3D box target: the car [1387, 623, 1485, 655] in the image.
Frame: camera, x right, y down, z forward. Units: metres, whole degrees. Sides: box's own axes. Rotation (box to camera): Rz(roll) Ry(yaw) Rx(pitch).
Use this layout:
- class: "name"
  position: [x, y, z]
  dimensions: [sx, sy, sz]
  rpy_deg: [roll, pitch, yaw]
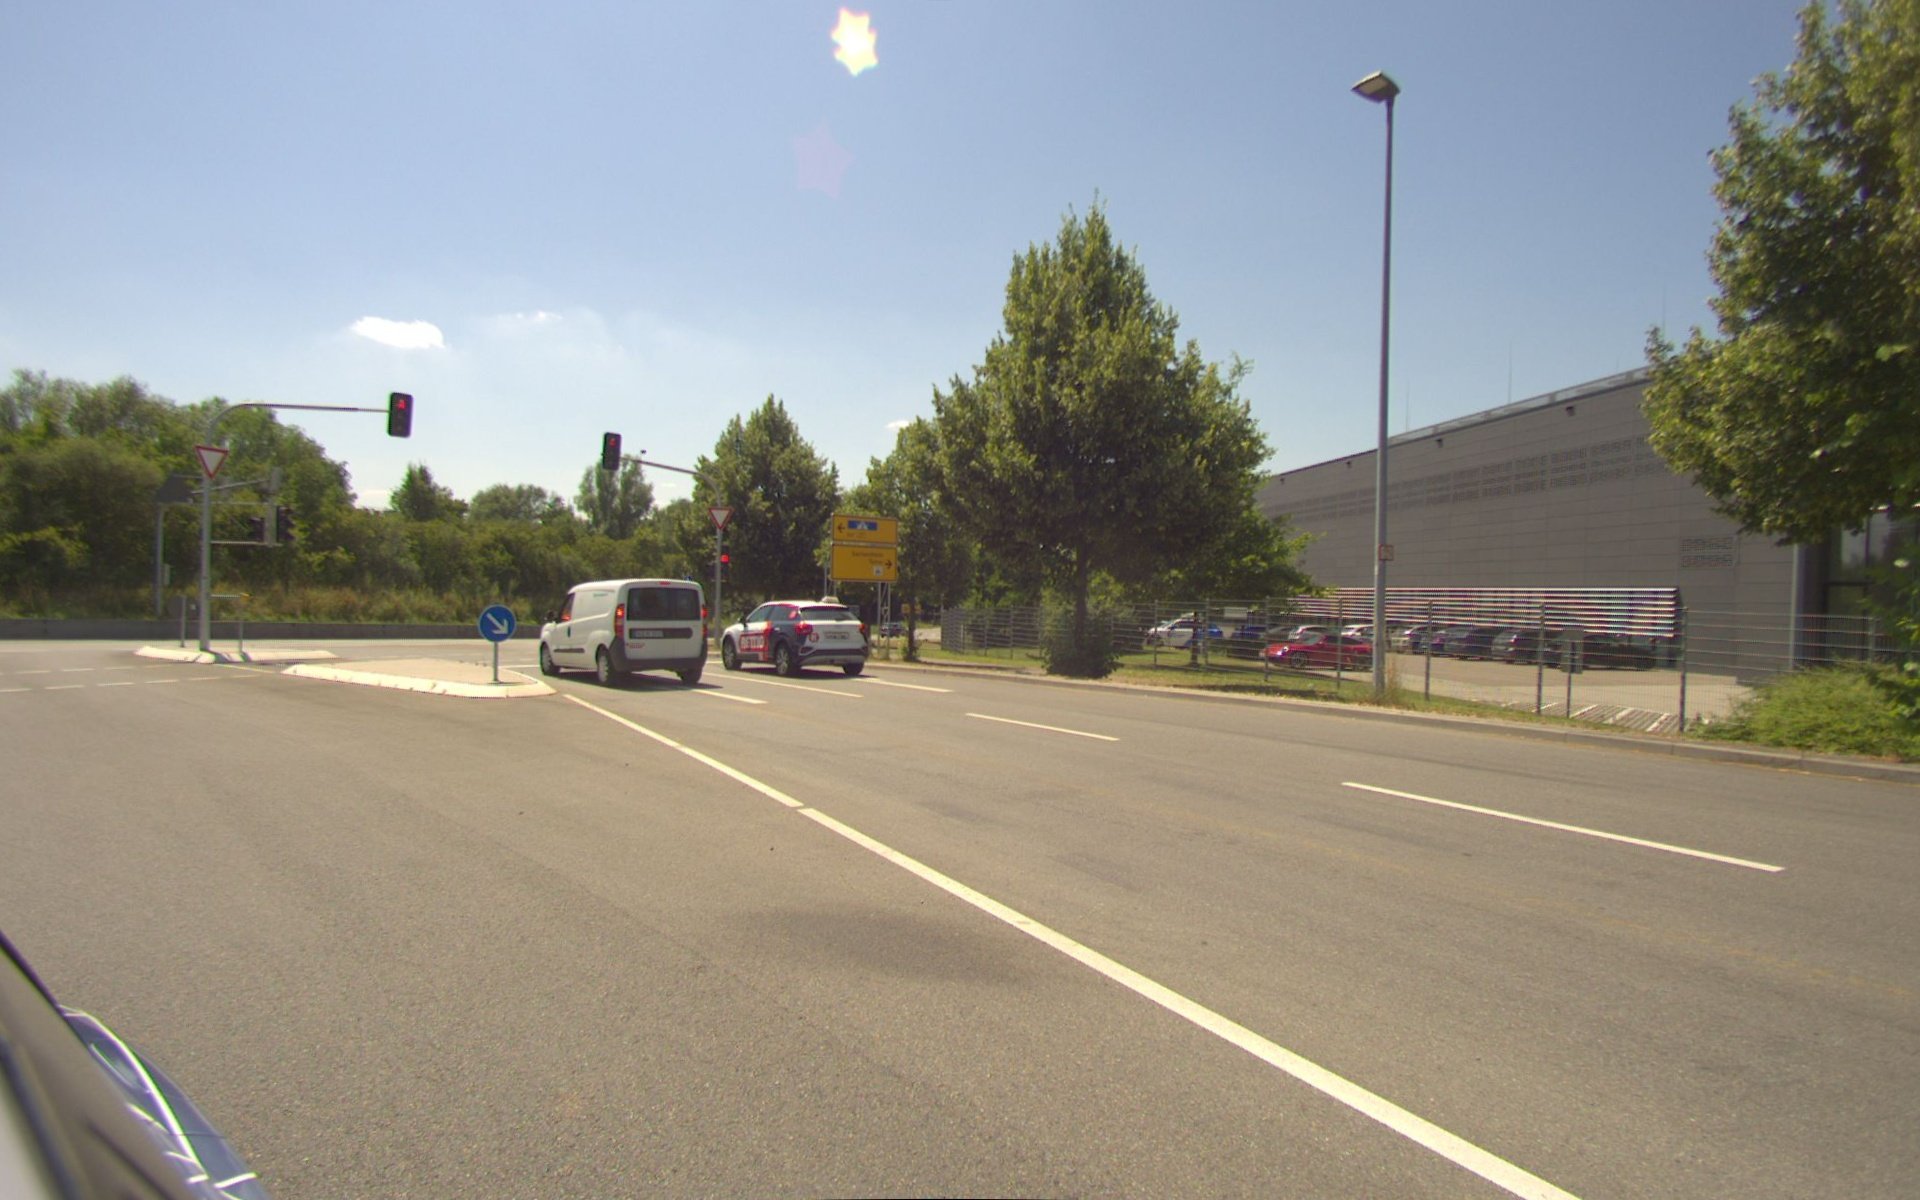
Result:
- class: "car"
  position: [23.612, 1.938, 50.244]
  dimensions: [3.935, 1.528, 1.924]
  rpy_deg: [0, -3, -10]

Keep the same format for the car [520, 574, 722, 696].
- class: "car"
  position: [-6.500, 0.520, 19.048]
  dimensions: [1.968, 1.957, 4.880]
  rpy_deg: [-3, 3, -39]

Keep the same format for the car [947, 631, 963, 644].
- class: "car"
  position: [-0.766, 5.643, 150.616]
  dimensions: [1.975, 1.796, 3.993]
  rpy_deg: [1, -3, 5]

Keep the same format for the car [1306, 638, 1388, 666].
- class: "car"
  position: [22.366, 3.013, 58.521]
  dimensions: [3.935, 1.497, 2.004]
  rpy_deg: [2, -3, -10]

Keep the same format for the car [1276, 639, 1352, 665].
- class: "car"
  position: [21.958, 3.236, 62.820]
  dimensions: [3.935, 1.497, 2.004]
  rpy_deg: [2, -3, -10]

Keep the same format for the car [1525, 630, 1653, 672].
- class: "car"
  position: [24.779, 2.024, 39.952]
  dimensions: [3.935, 1.497, 2.004]
  rpy_deg: [2, -3, -10]

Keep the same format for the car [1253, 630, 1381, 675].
- class: "car"
  position: [13.035, 1.931, 37.038]
  dimensions: [3.935, 1.497, 2.004]
  rpy_deg: [2, -3, -10]

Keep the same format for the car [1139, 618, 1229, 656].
- class: "car"
  position: [11.299, 1.894, 51.233]
  dimensions: [3.935, 1.719, 2.004]
  rpy_deg: [2, -3, -10]

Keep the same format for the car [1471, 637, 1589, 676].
- class: "car"
  position: [23.929, 2.387, 42.590]
  dimensions: [3.935, 1.497, 2.004]
  rpy_deg: [2, -3, -10]

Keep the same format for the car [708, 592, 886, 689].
- class: "car"
  position: [-3.478, 0.750, 21.150]
  dimensions: [1.968, 1.720, 3.872]
  rpy_deg: [-3, 3, -39]

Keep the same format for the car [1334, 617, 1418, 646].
- class: "car"
  position: [22.911, 1.758, 55.782]
  dimensions: [3.935, 1.471, 1.775]
  rpy_deg: [2, -3, -10]

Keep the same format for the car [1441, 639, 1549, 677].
- class: "car"
  position: [23.779, 2.600, 45.062]
  dimensions: [3.935, 1.540, 1.824]
  rpy_deg: [2, -3, -10]

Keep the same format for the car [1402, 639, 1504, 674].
- class: "car"
  position: [23.363, 2.668, 48.041]
  dimensions: [3.935, 1.497, 2.004]
  rpy_deg: [2, -3, -10]

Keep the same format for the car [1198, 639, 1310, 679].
- class: "car"
  position: [12.190, 2.464, 42.084]
  dimensions: [3.935, 1.497, 2.004]
  rpy_deg: [2, -3, -10]

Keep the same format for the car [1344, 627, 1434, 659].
- class: "car"
  position: [22.610, 2.278, 53.406]
  dimensions: [3.935, 1.497, 2.004]
  rpy_deg: [2, -3, -10]

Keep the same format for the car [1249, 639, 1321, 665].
- class: "car"
  position: [20.966, 3.344, 65.337]
  dimensions: [3.935, 1.497, 2.004]
  rpy_deg: [2, -3, -10]
